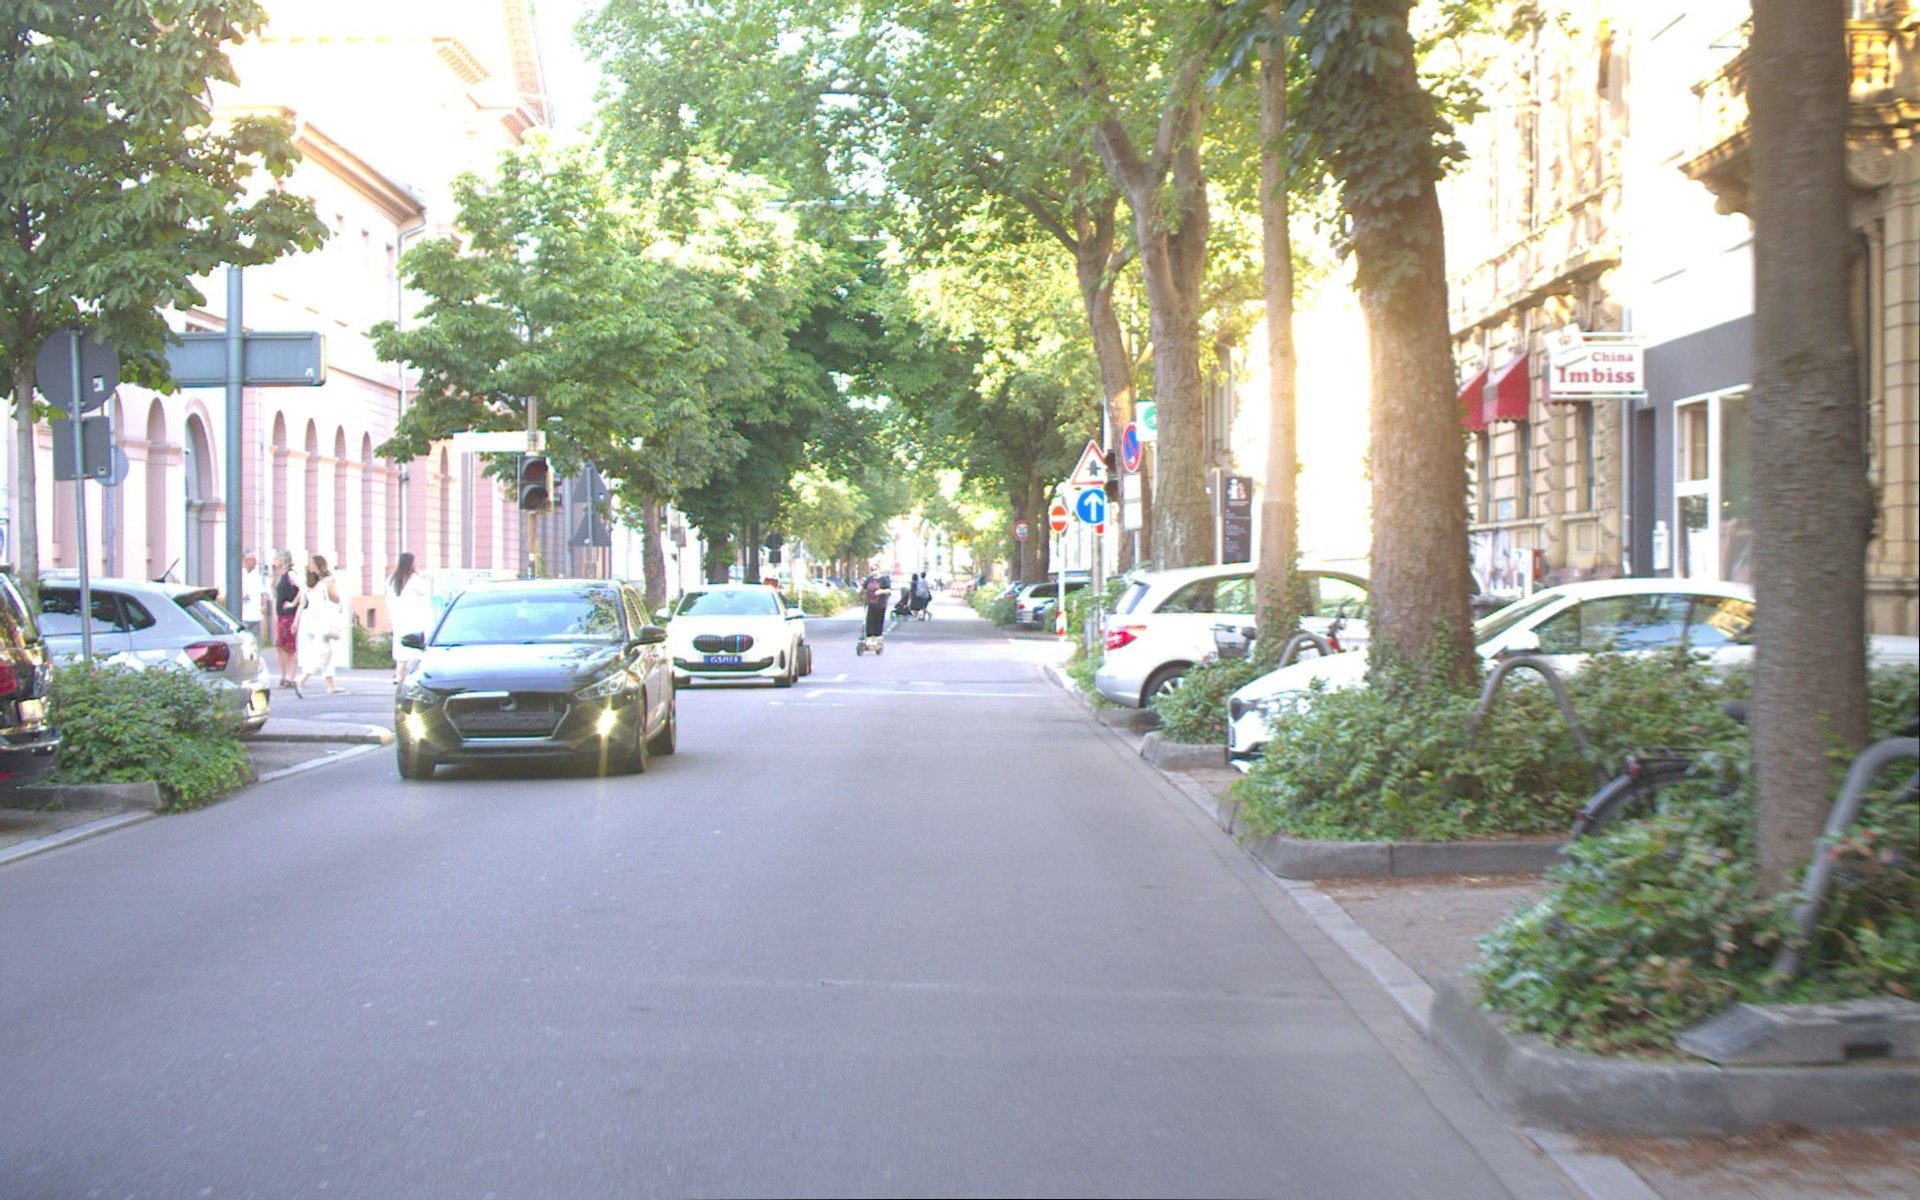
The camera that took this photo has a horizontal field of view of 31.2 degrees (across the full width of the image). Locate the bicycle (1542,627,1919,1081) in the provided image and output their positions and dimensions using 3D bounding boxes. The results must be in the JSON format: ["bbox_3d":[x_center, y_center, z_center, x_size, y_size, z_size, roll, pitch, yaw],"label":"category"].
[{"bbox_3d":[2.909,0.790,10.778,2.046,1.356,0.508,1,1,-2],"label":"bicycle"}]

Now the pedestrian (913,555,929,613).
[{"bbox_3d":[-1.343,-0.547,118.514,0.502,2.007,0.620,1,0,1],"label":"pedestrian"}]

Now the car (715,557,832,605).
[{"bbox_3d":[-8.250,-0.843,152.240,5.064,2.076,2.263,-1,1,0],"label":"car"}]

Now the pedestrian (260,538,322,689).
[{"bbox_3d":[-8.327,0.157,42.783,0.554,1.844,0.611,1,2,14],"label":"pedestrian"}]

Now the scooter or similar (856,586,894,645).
[{"bbox_3d":[-1.649,0.303,67.011,0.502,1.141,1.249,0,0,10],"label":"scooter or similar"}]

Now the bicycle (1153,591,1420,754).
[{"bbox_3d":[2.598,0.565,27.342,2.019,1.200,0.488,-2,0,-12],"label":"bicycle"}]

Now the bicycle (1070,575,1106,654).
[{"bbox_3d":[2.251,0.244,60.357,0.417,1.367,1.287,-1,0,11],"label":"bicycle"}]

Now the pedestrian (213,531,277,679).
[{"bbox_3d":[-8.941,0.058,42.997,0.554,1.844,0.611,0,0,15],"label":"pedestrian"}]

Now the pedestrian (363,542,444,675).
[{"bbox_3d":[-7.366,0.110,45.522,0.775,1.732,0.844,1,0,12],"label":"pedestrian"}]

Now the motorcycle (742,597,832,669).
[{"bbox_3d":[-2.742,0.536,54.704,1.312,1.087,2.396,0,-2,0],"label":"motorcycle"}]

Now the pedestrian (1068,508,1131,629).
[{"bbox_3d":[2.502,-0.568,61.767,1.043,2.139,1.063,1,0,0],"label":"pedestrian"}]

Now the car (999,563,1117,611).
[{"bbox_3d":[3.387,-0.455,119.233,4.014,1.617,1.781,-1,0,-1],"label":"car"}]

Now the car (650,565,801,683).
[{"bbox_3d":[-3.233,0.299,48.078,1.877,1.543,4.275,-1,1,-1],"label":"car"}]

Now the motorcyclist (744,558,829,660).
[{"bbox_3d":[-2.755,0.138,54.673,1.280,1.586,1.077,0,0,0],"label":"motorcyclist"}]

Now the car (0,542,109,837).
[{"bbox_3d":[-7.249,0.457,19.987,4.093,1.626,1.936,1,0,1],"label":"car"}]

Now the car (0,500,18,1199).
[{"bbox_3d":[-2.976,0.637,5.232,1.877,1.635,4.646,-1,1,-1],"label":"car"}]

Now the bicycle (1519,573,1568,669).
[{"bbox_3d":[7.547,0.262,44.501,0.385,1.207,1.725,-1,0,2],"label":"bicycle"}]

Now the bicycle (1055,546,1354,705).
[{"bbox_3d":[2.611,0.268,36.883,3.112,1.657,0.658,1,0,-4],"label":"bicycle"}]

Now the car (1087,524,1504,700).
[{"bbox_3d":[3.822,0.124,39.687,4.540,1.908,1.950,-1,1,-2],"label":"car"}]

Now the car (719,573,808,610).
[{"bbox_3d":[-8.392,-0.380,146.849,3.725,1.503,1.873,-1,1,-3],"label":"car"}]

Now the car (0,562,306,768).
[{"bbox_3d":[-7.057,0.456,26.338,3.741,1.453,1.735,2,1,-1],"label":"car"}]

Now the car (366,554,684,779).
[{"bbox_3d":[-3.221,0.445,26.239,1.877,1.543,4.275,-1,1,0],"label":"car"}]

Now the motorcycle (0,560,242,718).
[{"bbox_3d":[-7.793,0.358,31.581,2.150,1.414,0.967,-1,0,21],"label":"motorcycle"}]

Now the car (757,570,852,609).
[{"bbox_3d":[-8.510,-0.574,188.568,5.064,2.076,2.263,-1,1,1],"label":"car"}]

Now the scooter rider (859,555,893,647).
[{"bbox_3d":[-1.642,0.018,67.055,0.494,1.785,0.874,-1,-1,10],"label":"scooter rider"}]

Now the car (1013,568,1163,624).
[{"bbox_3d":[3.645,-0.119,98.275,4.192,1.475,1.852,-2,1,0],"label":"car"}]

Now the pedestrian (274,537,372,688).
[{"bbox_3d":[-7.754,0.148,41.858,0.792,1.785,0.770,3,1,28],"label":"pedestrian"}]

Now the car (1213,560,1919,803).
[{"bbox_3d":[3.948,0.485,21.797,4.583,1.432,1.925,-1,1,2],"label":"car"}]

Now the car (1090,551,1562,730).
[{"bbox_3d":[3.356,0.356,32.079,4.225,1.555,1.970,-1,1,3],"label":"car"}]
